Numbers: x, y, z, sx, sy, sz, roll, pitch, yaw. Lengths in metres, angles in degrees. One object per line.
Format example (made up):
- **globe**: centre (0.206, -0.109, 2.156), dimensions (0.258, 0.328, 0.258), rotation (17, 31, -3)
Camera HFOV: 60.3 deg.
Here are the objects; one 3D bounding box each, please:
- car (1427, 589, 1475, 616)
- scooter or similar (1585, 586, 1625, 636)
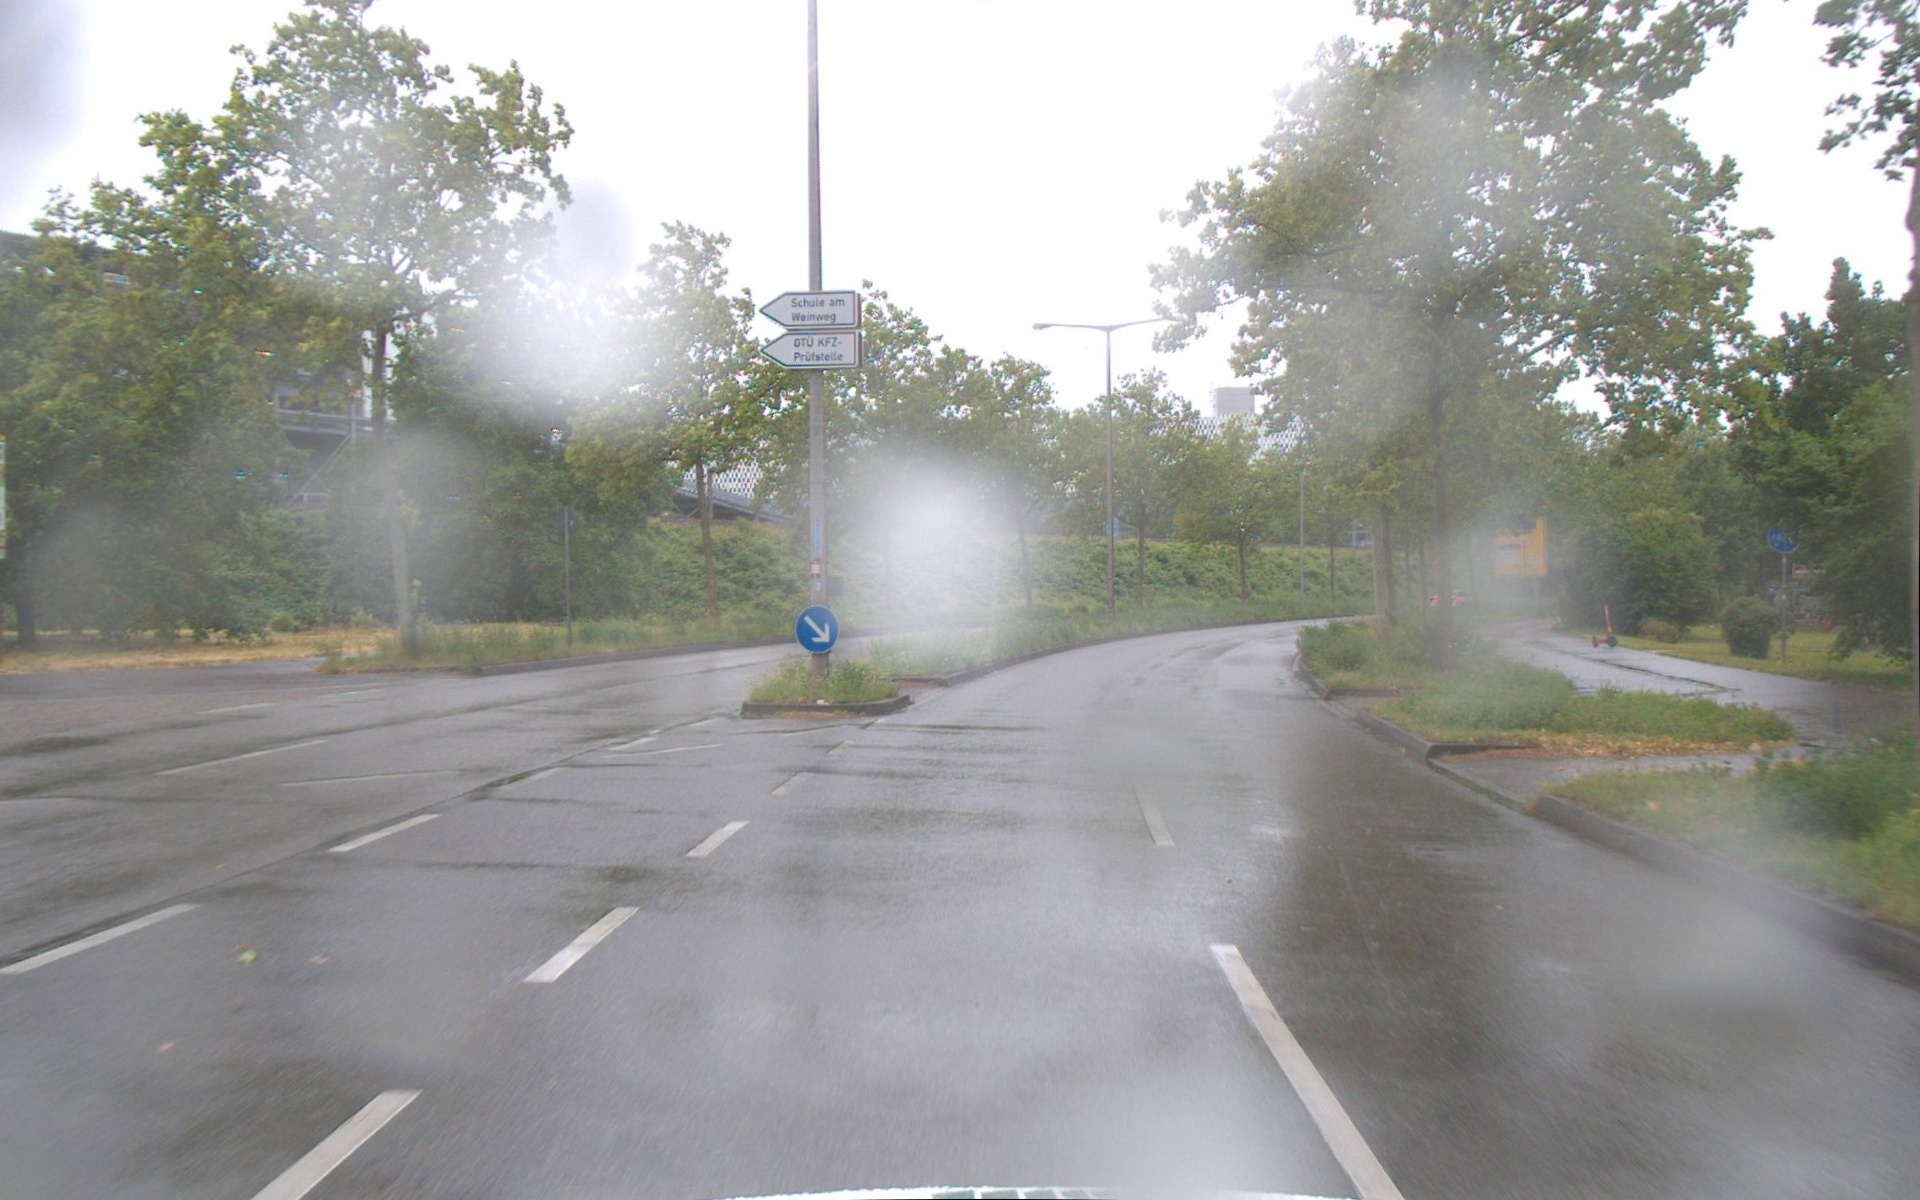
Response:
- **car**: centre (30.249, 0.141, 101.766), dimensions (1.748, 1.582, 3.988), rotation (2, 1, 33)
- **scooter or similar**: centre (16.053, 0.269, 41.195), dimensions (0.537, 1.219, 1.111), rotation (0, 0, -1)
